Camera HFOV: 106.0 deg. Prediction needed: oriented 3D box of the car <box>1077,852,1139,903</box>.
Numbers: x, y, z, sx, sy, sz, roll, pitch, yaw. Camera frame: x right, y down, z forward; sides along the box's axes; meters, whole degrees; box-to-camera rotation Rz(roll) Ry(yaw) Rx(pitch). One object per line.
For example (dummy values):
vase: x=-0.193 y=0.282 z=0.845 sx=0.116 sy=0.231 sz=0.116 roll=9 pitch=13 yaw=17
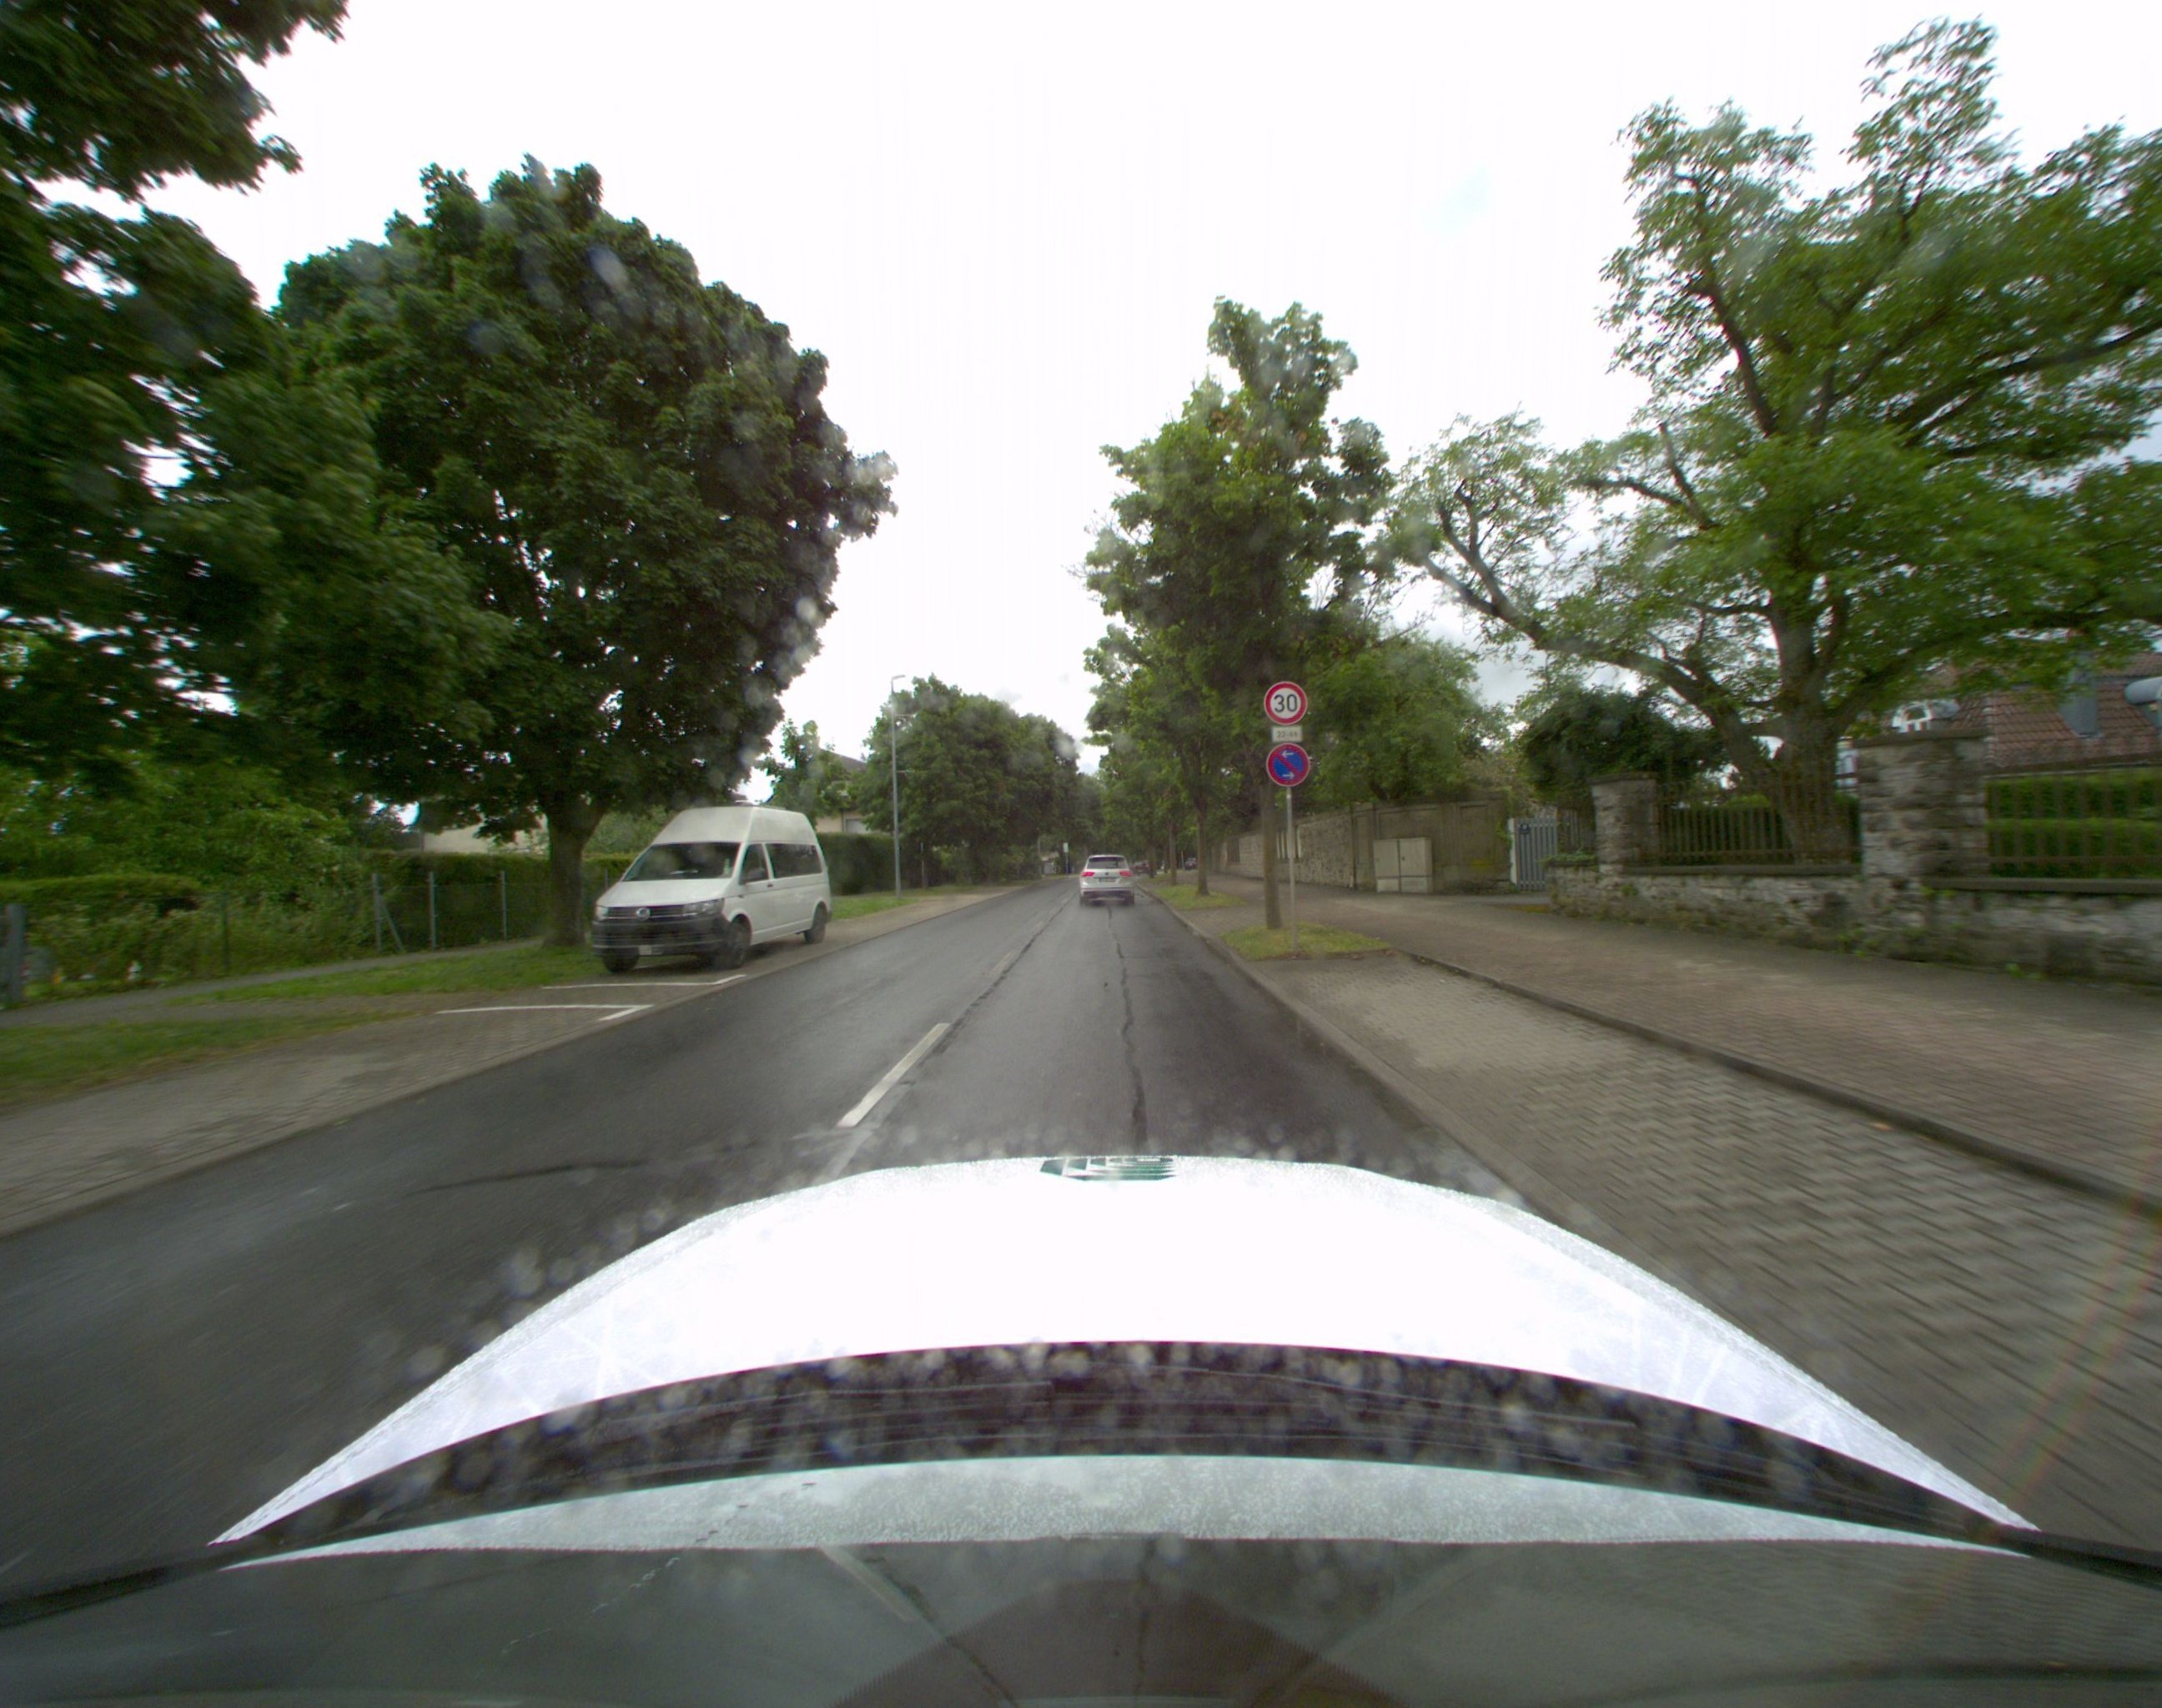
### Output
car: x=0.910 y=0.757 z=28.151 sx=1.990 sy=1.632 sz=4.001 roll=-1 pitch=0 yaw=1

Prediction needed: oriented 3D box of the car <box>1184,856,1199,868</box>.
car: x=15.781 y=1.164 z=115.765 sx=1.829 sy=1.487 sz=4.011 roll=-4 pitch=-2 yaw=11

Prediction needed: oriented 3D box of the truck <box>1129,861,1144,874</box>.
truck: x=11.231 y=2.720 z=165.560 sx=2.270 sy=2.597 sz=5.891 roll=-3 pitch=-2 yaw=10

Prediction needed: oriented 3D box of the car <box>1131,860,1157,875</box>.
car: x=6.325 y=1.324 z=81.236 sx=1.826 sy=1.487 sz=4.017 roll=0 pitch=0 yaw=17

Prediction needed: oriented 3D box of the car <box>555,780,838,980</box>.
car: x=-5.855 y=0.348 z=13.344 sx=1.986 sy=2.561 sz=5.233 roll=-2 pitch=0 yaw=1
